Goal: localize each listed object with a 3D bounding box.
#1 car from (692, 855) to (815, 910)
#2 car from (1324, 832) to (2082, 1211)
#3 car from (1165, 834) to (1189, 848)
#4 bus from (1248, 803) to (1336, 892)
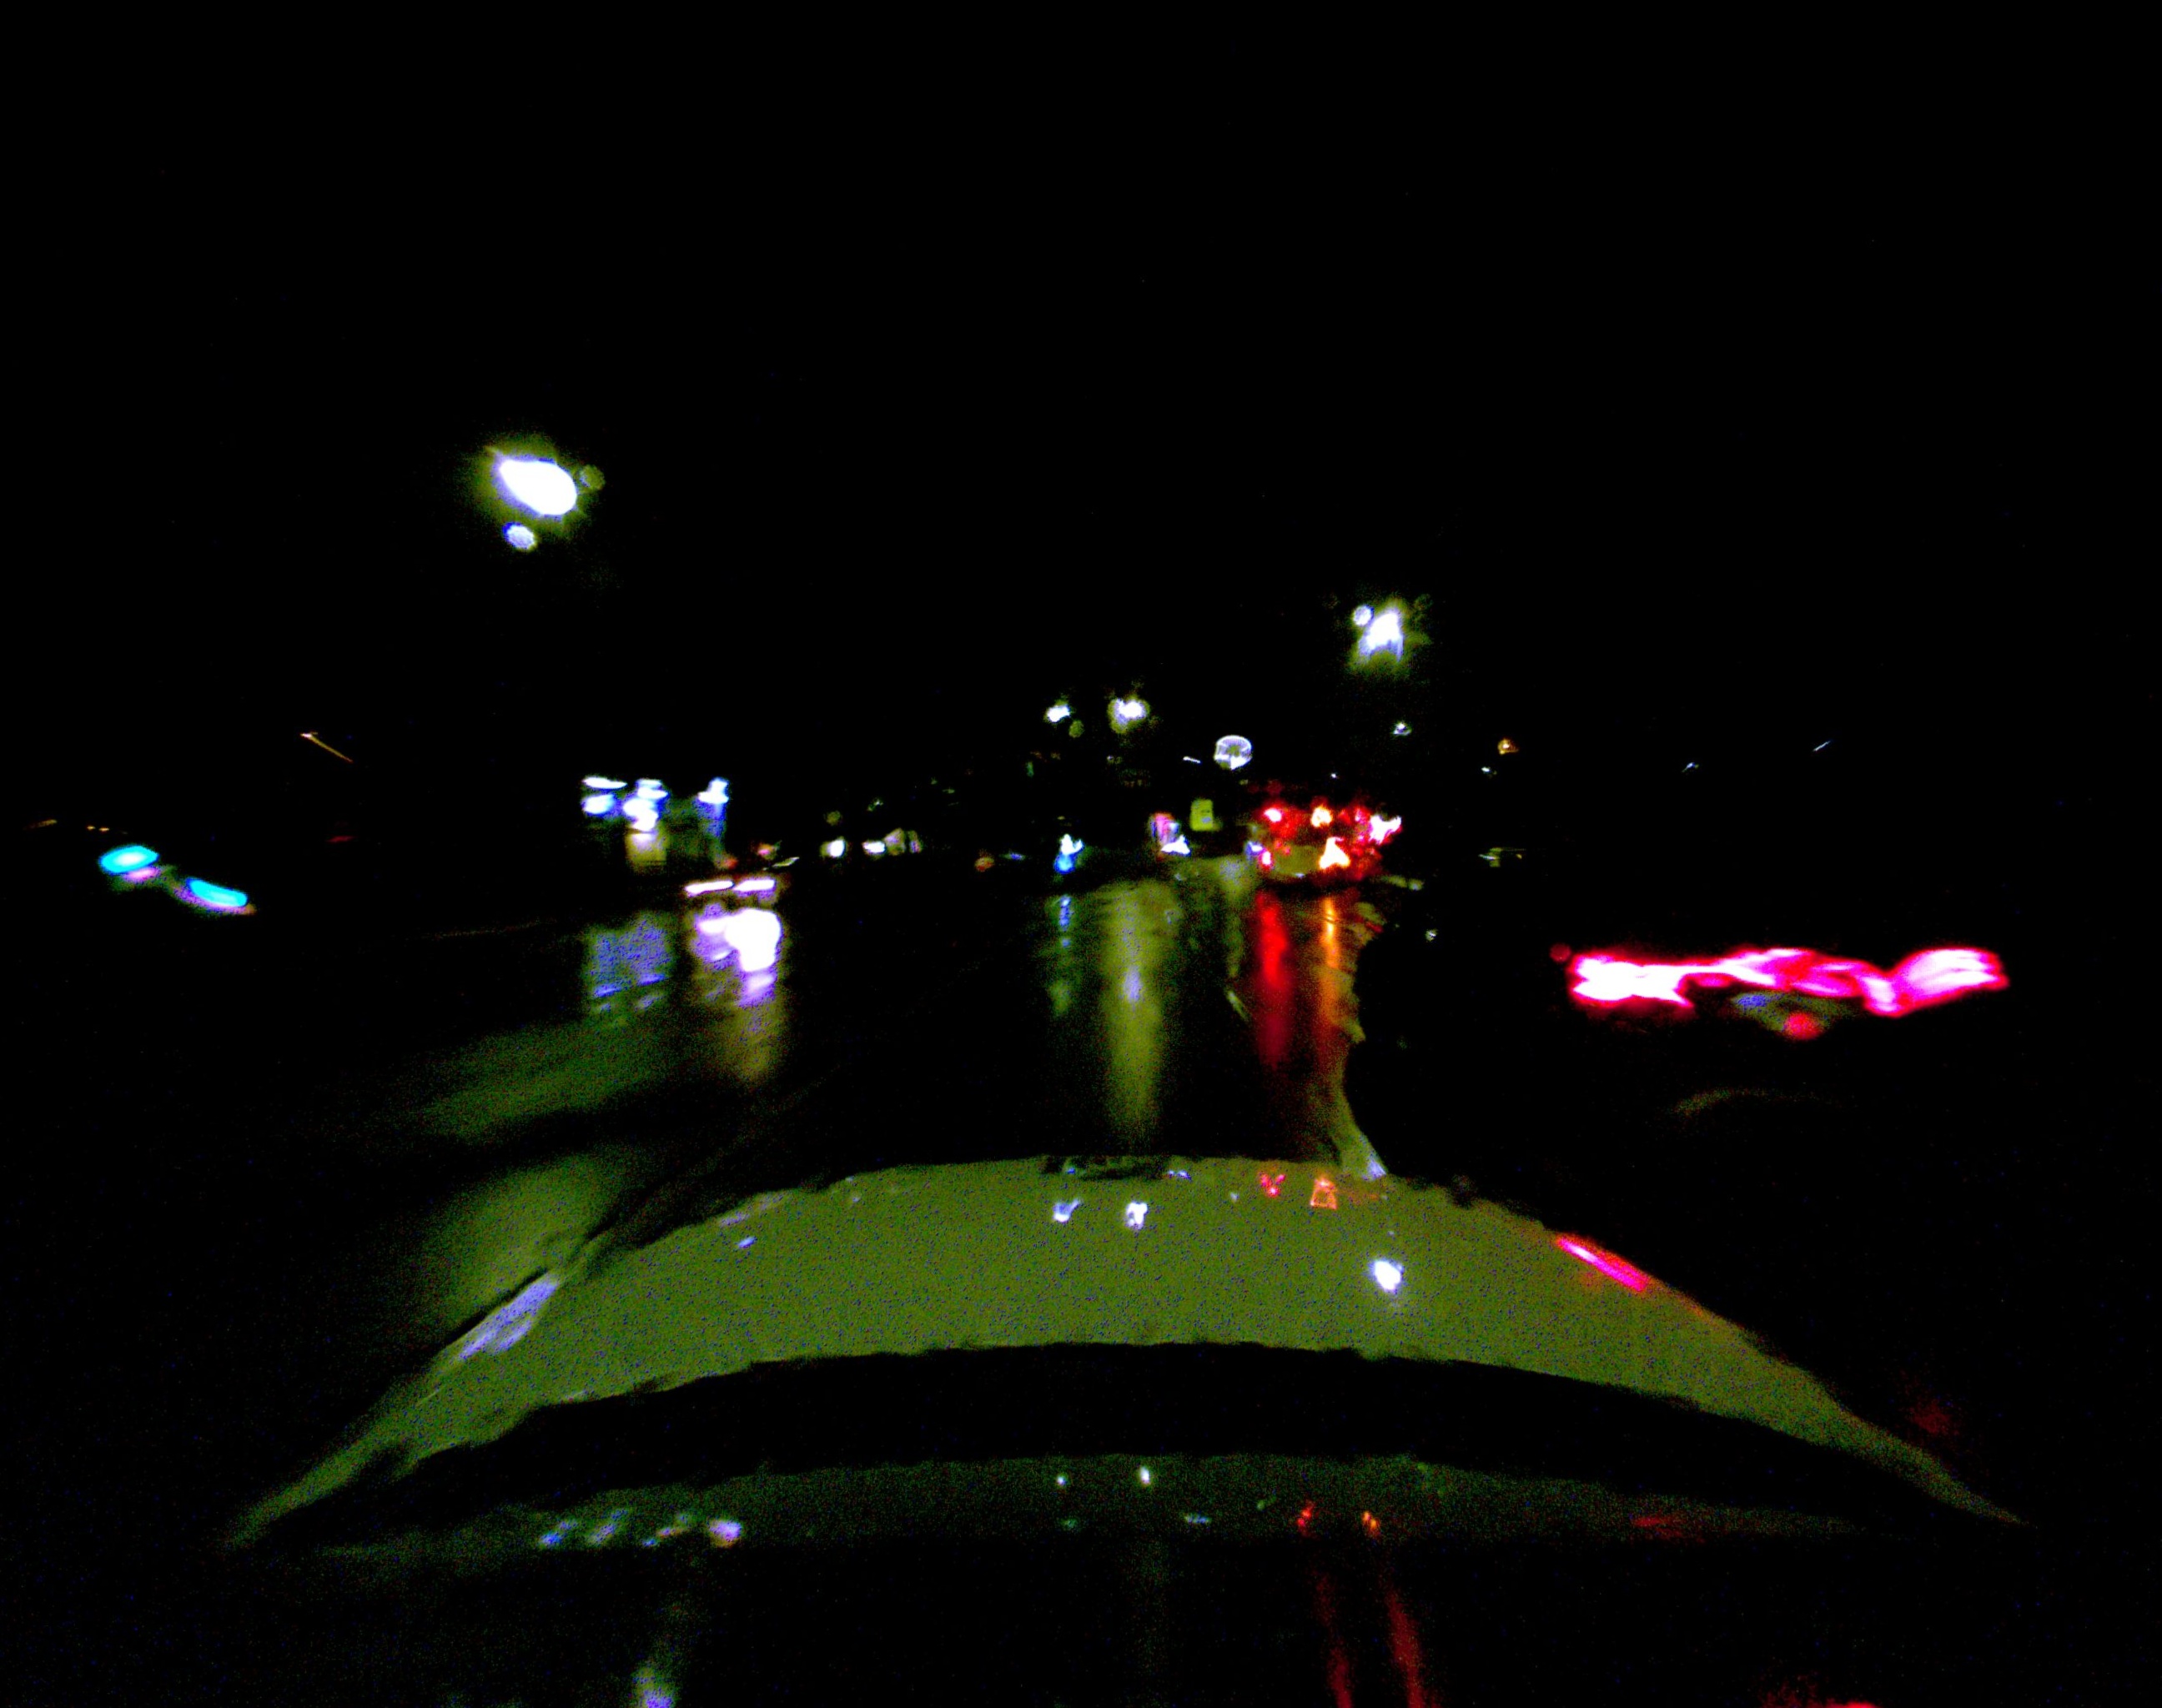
[{"bbox_3d":[-9.537,0.779,24.087,1.757,1.457,3.958,0,0,5],"label":"car"},{"bbox_3d":[3.129,0.686,5.330,1.986,1.524,4.002,-1,0,2],"label":"car"},{"bbox_3d":[10.978,-1.498,93.184,1.851,1.463,4.660,-3,0,17],"label":"car"},{"bbox_3d":[8.662,-0.235,34.469,3.024,3.212,9.078,-1,0,11],"label":"bus"}]
